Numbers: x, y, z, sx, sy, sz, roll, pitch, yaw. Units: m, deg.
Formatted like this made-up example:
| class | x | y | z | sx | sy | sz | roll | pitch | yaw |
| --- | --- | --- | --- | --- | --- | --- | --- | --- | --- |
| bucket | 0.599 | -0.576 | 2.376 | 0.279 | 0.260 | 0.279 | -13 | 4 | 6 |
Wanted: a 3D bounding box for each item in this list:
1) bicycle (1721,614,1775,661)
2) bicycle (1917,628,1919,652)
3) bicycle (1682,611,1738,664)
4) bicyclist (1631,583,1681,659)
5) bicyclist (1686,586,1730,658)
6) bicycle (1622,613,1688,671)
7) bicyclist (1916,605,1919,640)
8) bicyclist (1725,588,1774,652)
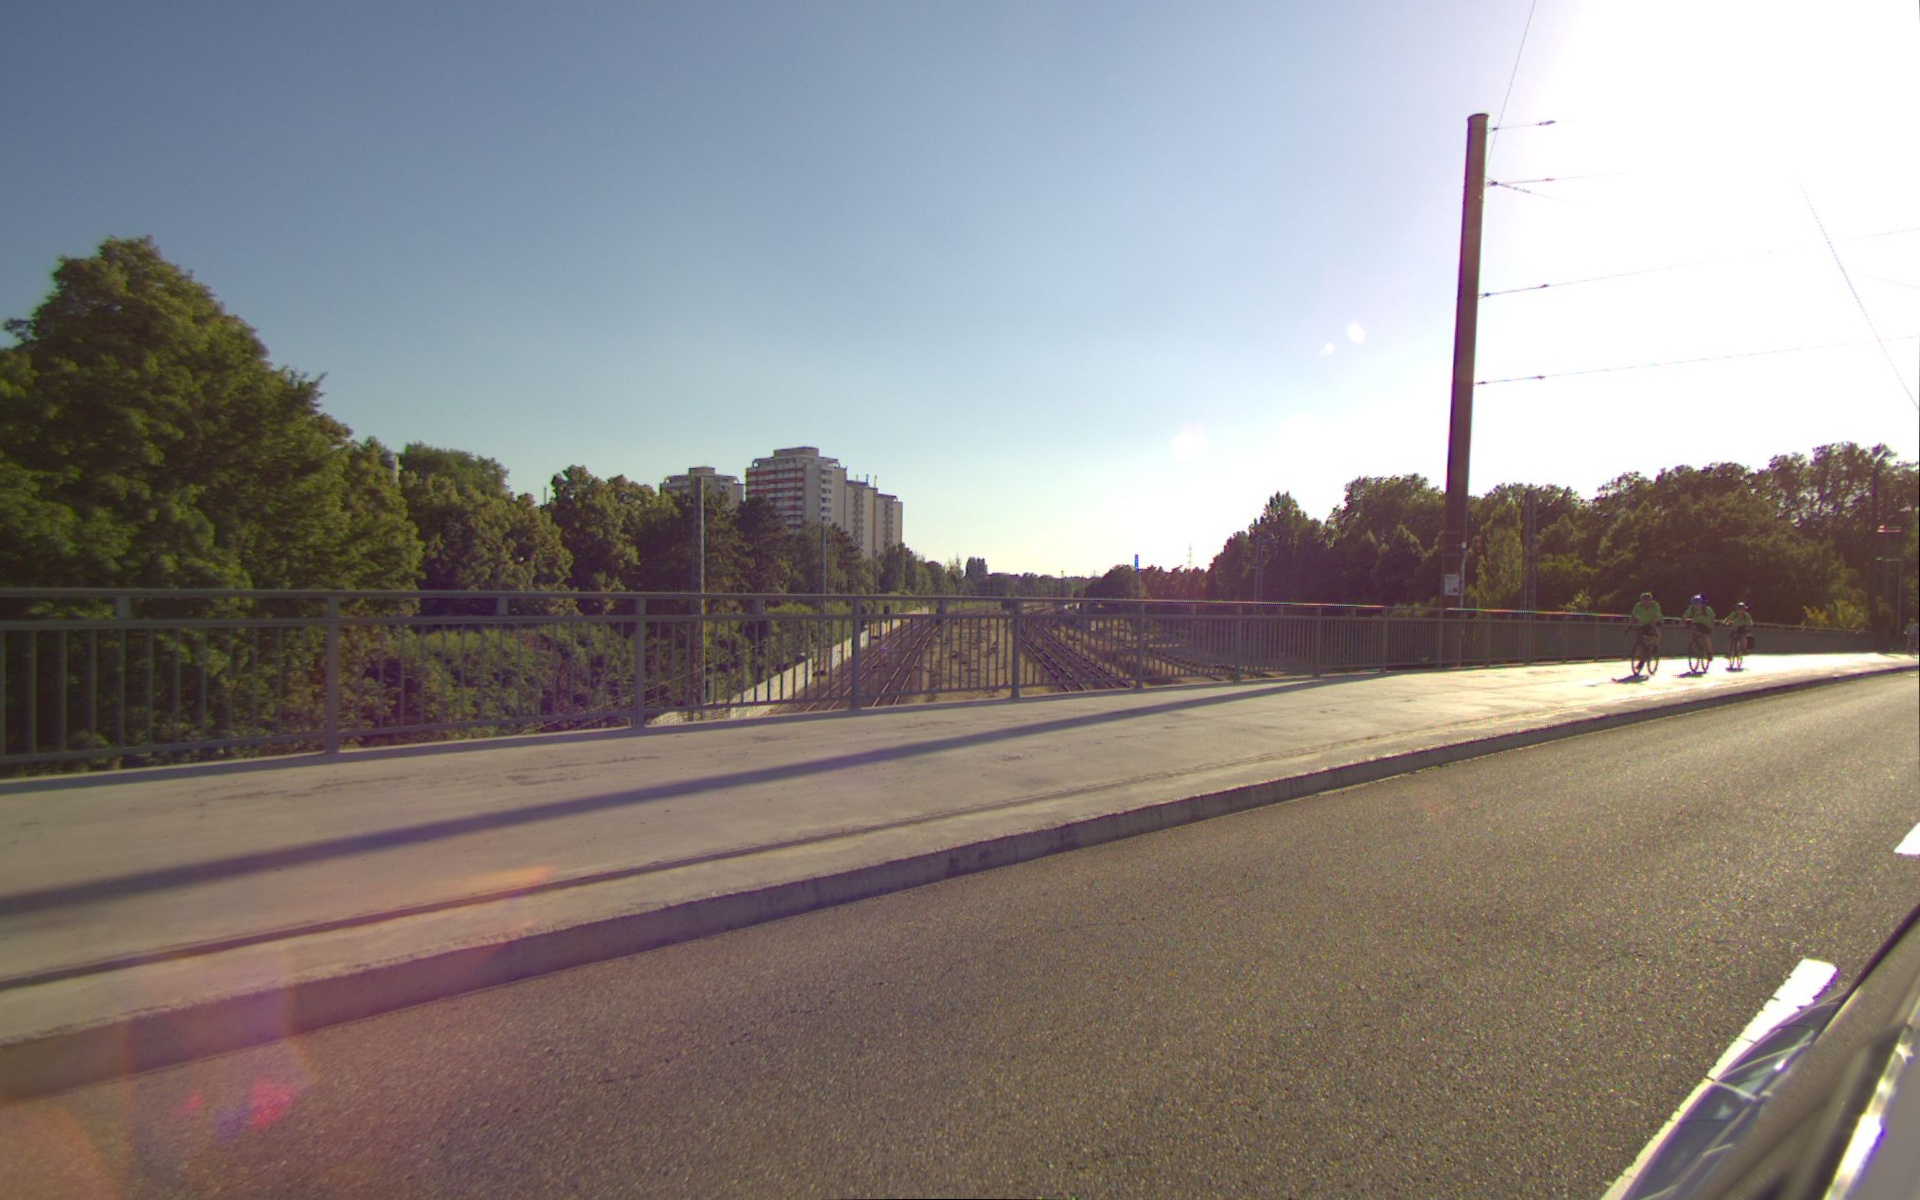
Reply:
| class | x | y | z | sx | sy | sz | roll | pitch | yaw |
| --- | --- | --- | --- | --- | --- | --- | --- | --- | --- |
| bicycle | 20.039 | 0.944 | 25.722 | 2.177 | 1.137 | 0.684 | 2 | -1 | -42 |
| bicycle | 47.860 | 1.981 | 49.995 | 2.697 | 1.137 | 0.731 | 1 | -2 | -45 |
| bicycle | 17.112 | 0.839 | 23.063 | 2.006 | 1.136 | 0.626 | 0 | 0 | -42 |
| bicyclist | 14.278 | 0.420 | 20.764 | 0.988 | 1.527 | 0.626 | 1 | 0 | -42 |
| bicyclist | 17.013 | 0.487 | 23.022 | 0.914 | 1.612 | 0.626 | 1 | 0 | -41 |
| bicycle | 14.295 | 0.836 | 20.792 | 2.221 | 1.137 | 0.626 | 1 | 0 | -42 |
| bicyclist | 47.981 | 1.104 | 50.171 | 1.182 | 1.711 | 0.731 | 1 | -2 | -44 |
| bicyclist | 20.071 | 0.500 | 25.734 | 0.881 | 1.582 | 0.813 | 2 | -1 | -41 |
